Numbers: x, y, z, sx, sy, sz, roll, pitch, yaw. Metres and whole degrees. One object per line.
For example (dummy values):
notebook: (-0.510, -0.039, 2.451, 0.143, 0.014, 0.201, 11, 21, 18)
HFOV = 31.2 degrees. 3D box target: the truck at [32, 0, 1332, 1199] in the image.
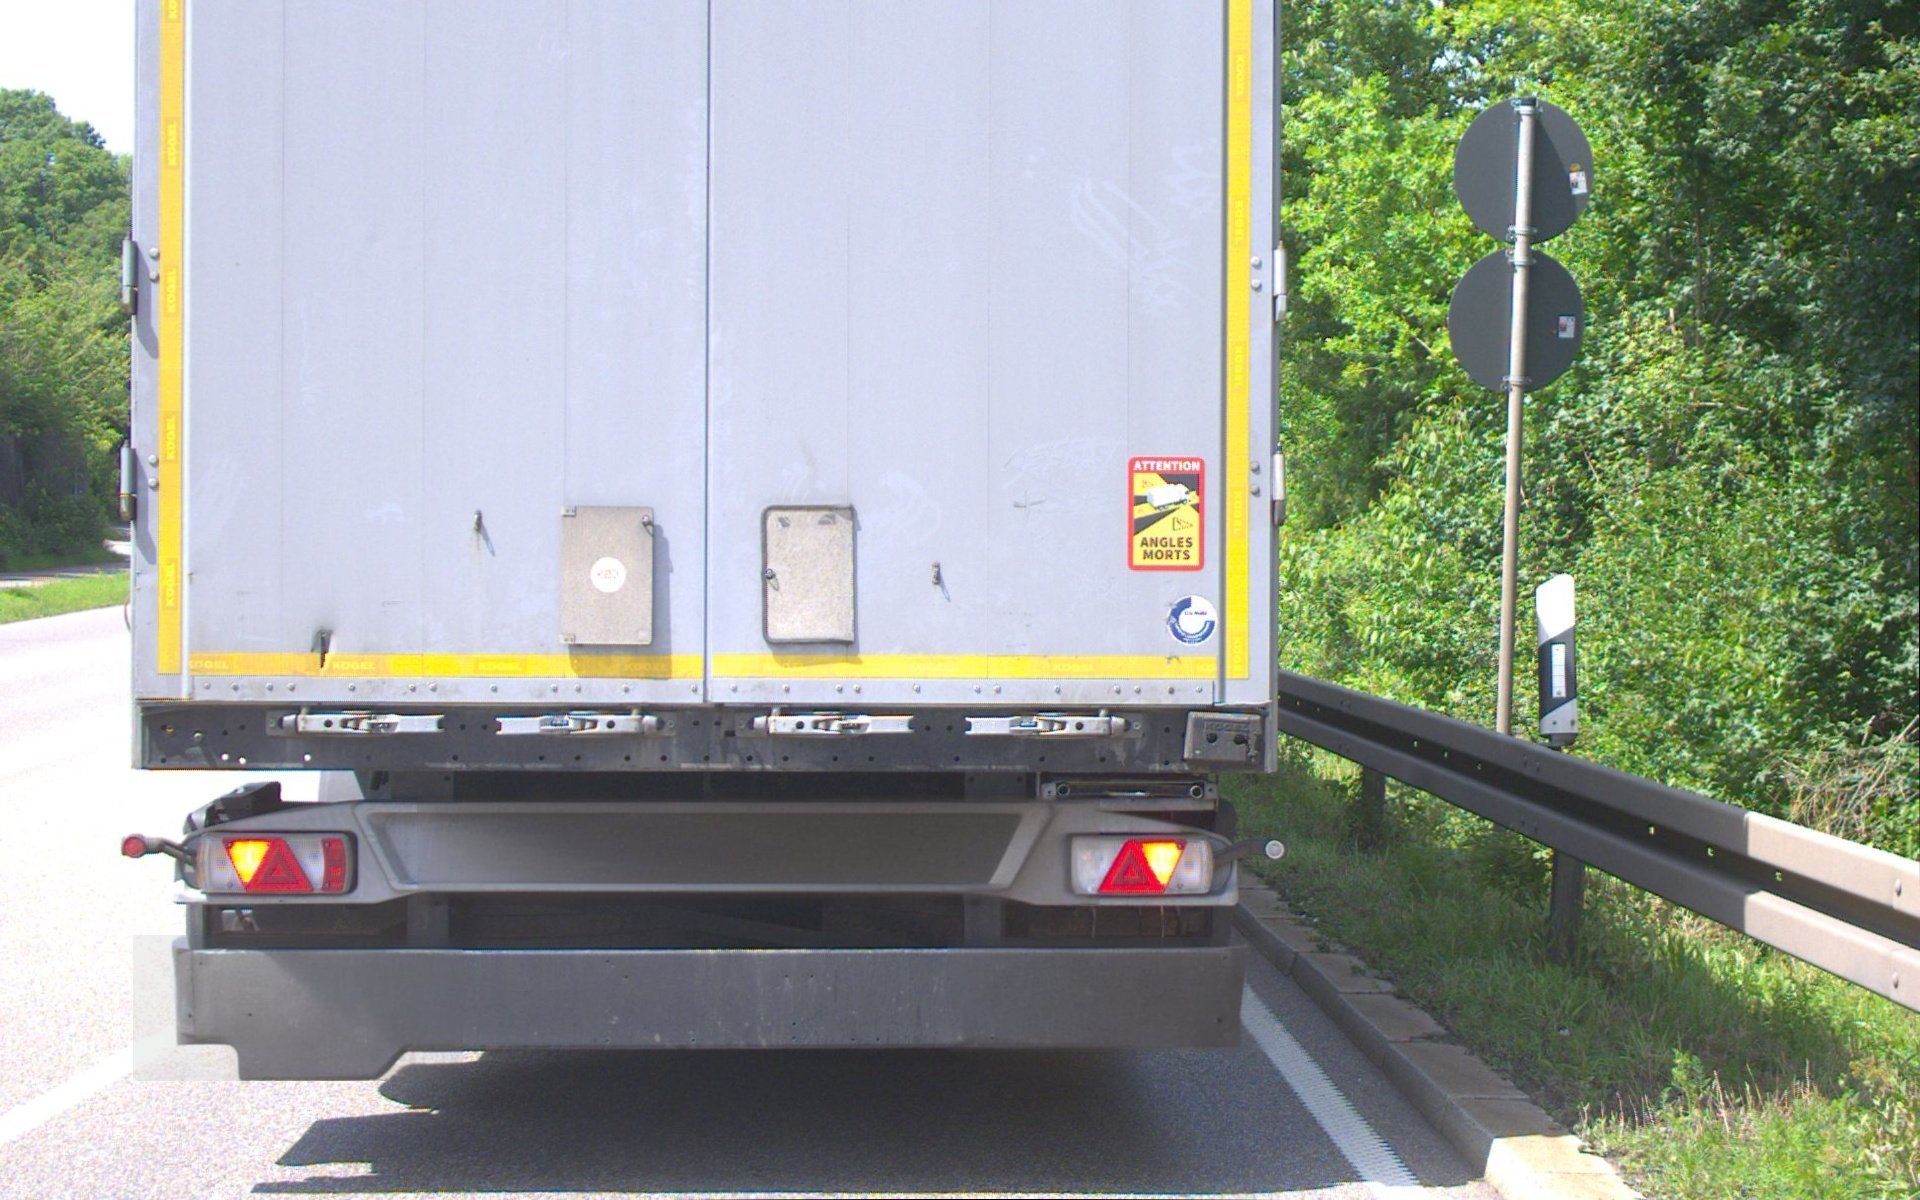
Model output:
truck: (-0.728, -0.779, 13.292, 2.757, 4.016, 11.925, 0, 1, -1)
